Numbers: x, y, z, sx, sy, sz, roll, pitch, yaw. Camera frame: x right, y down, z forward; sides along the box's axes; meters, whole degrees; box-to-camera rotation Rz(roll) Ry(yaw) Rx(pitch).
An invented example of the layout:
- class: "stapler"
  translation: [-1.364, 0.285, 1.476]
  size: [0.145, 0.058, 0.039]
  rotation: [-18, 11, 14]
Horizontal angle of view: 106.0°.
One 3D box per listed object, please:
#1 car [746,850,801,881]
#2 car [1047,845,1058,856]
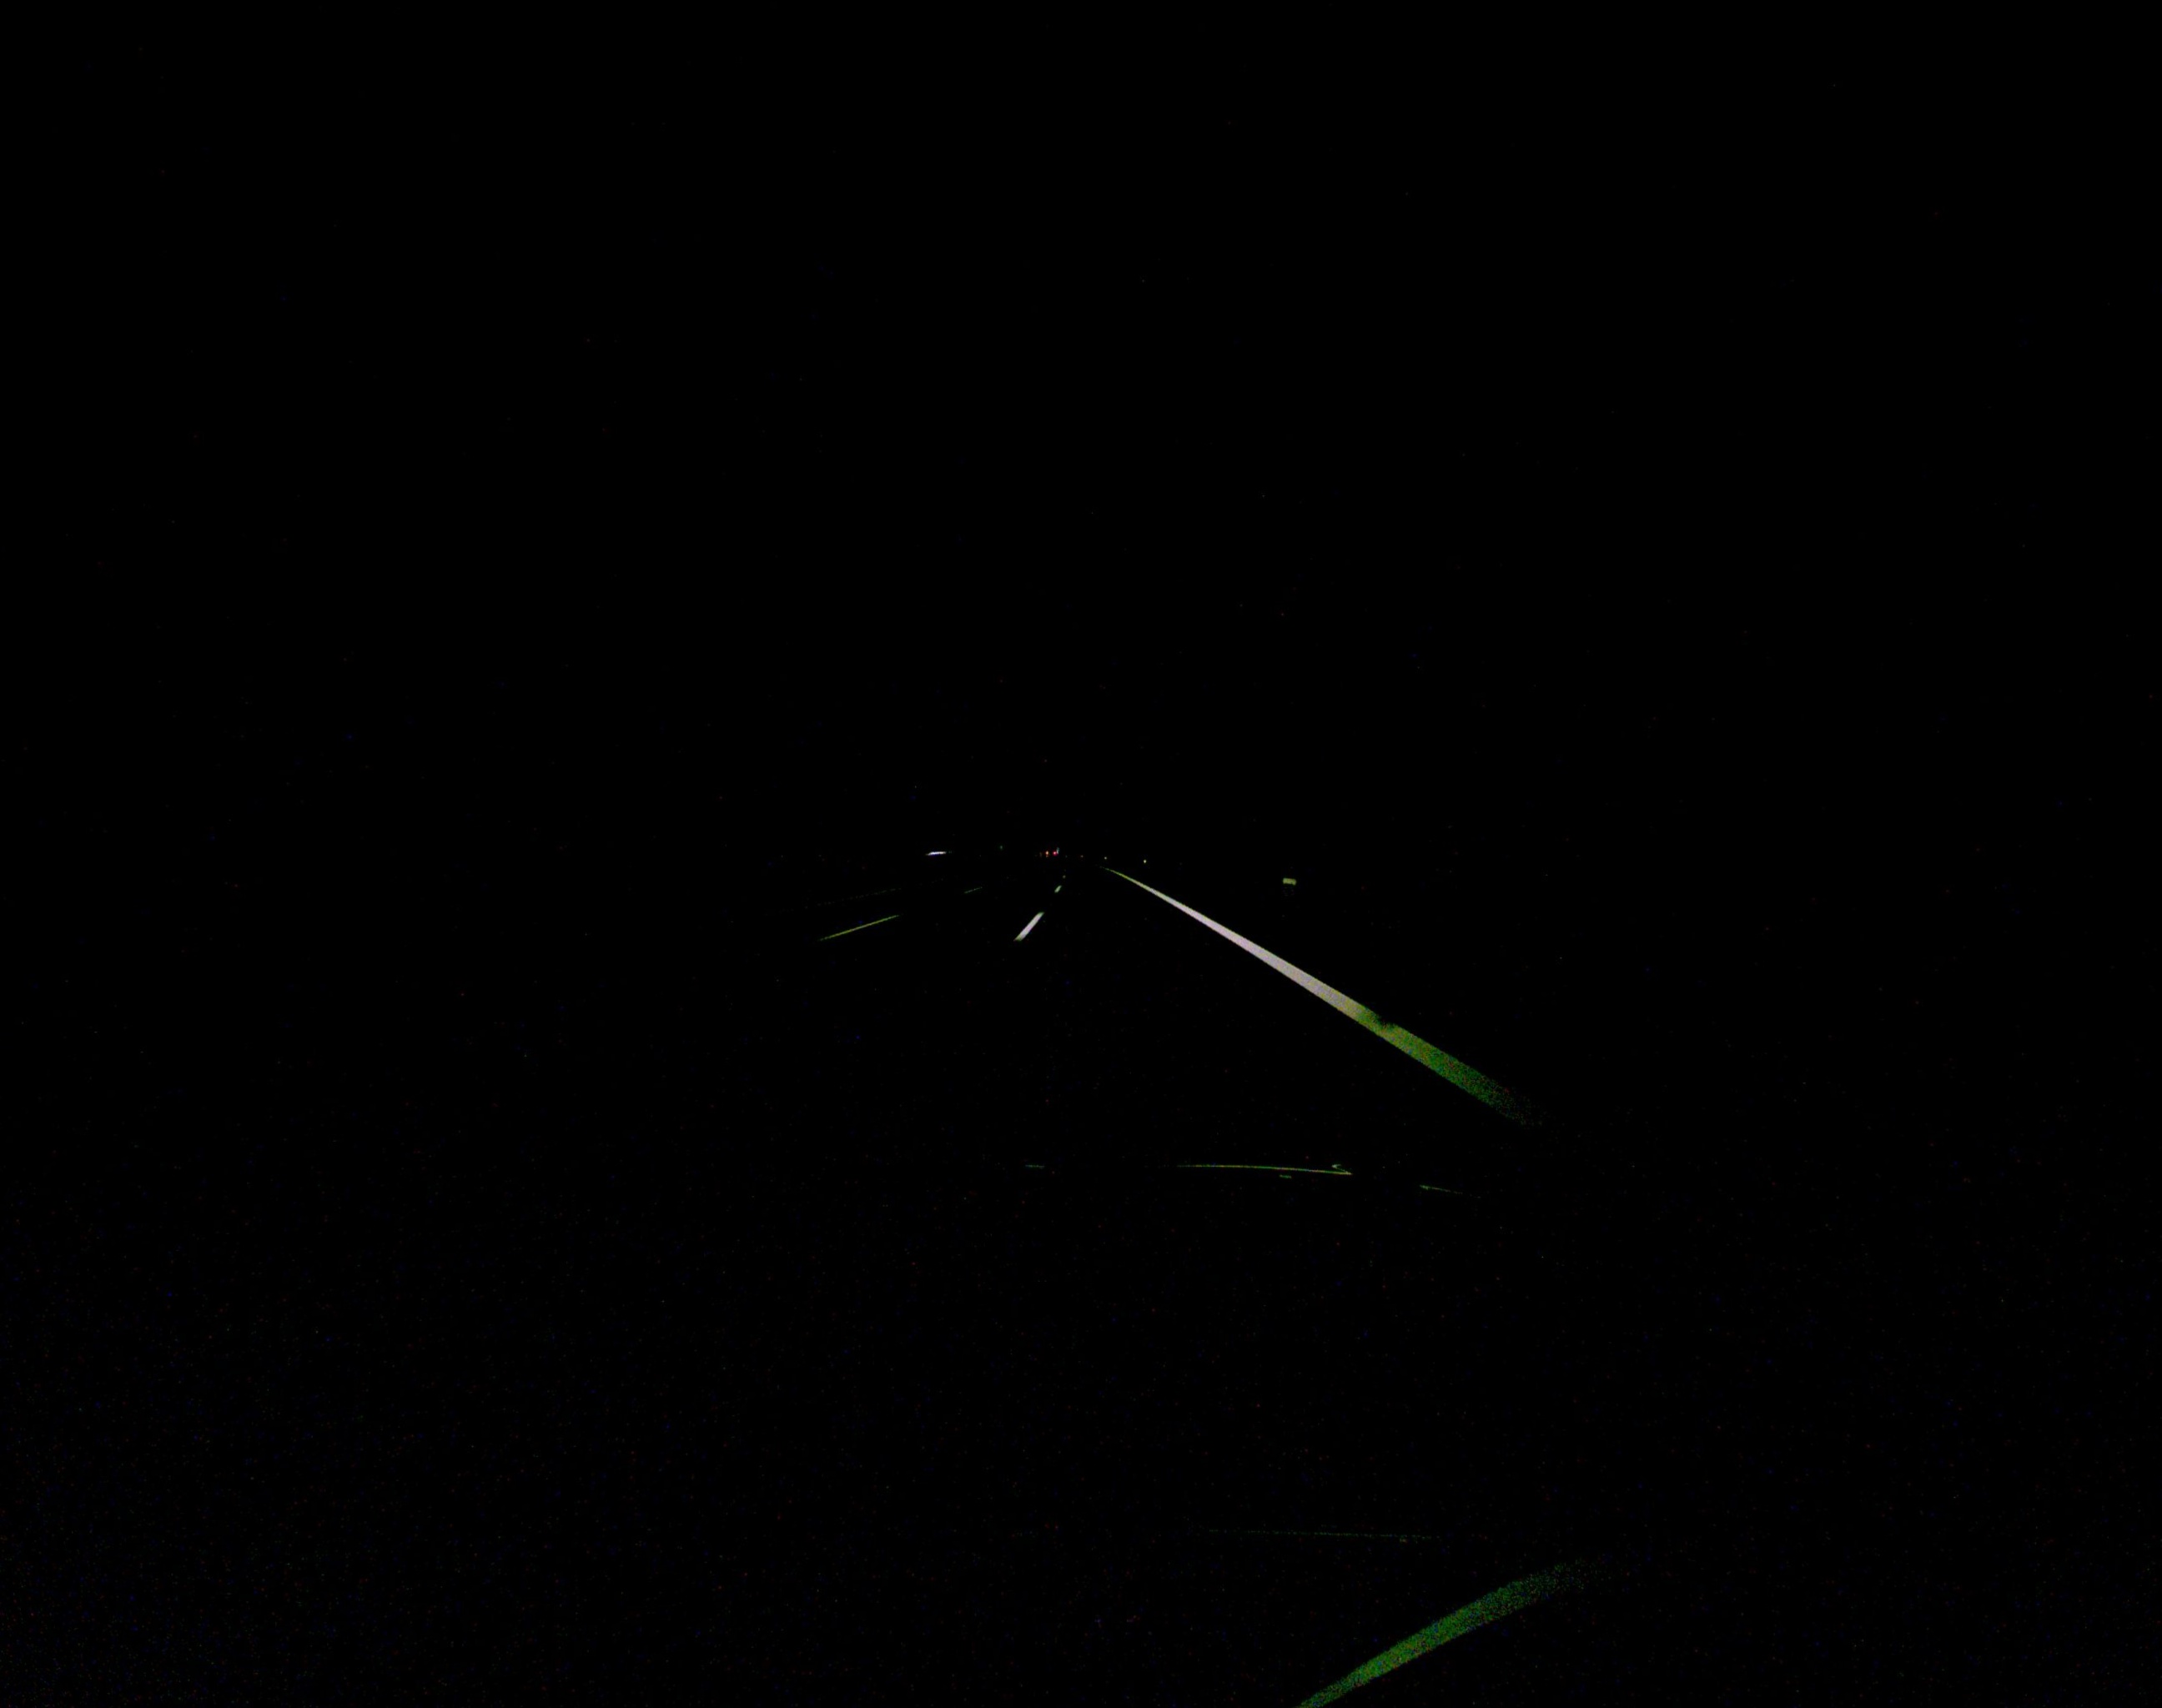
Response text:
- class: "car"
  translation: [-19.518, 0.684, 51.934]
  size: [1.988, 1.854, 4.075]
  rotation: [-1, 0, -1]
- class: "car"
  translation: [-6.870, -0.896, 197.083]
  size: [2.522, 2.553, 6.043]
  rotation: [2, 0, -3]
